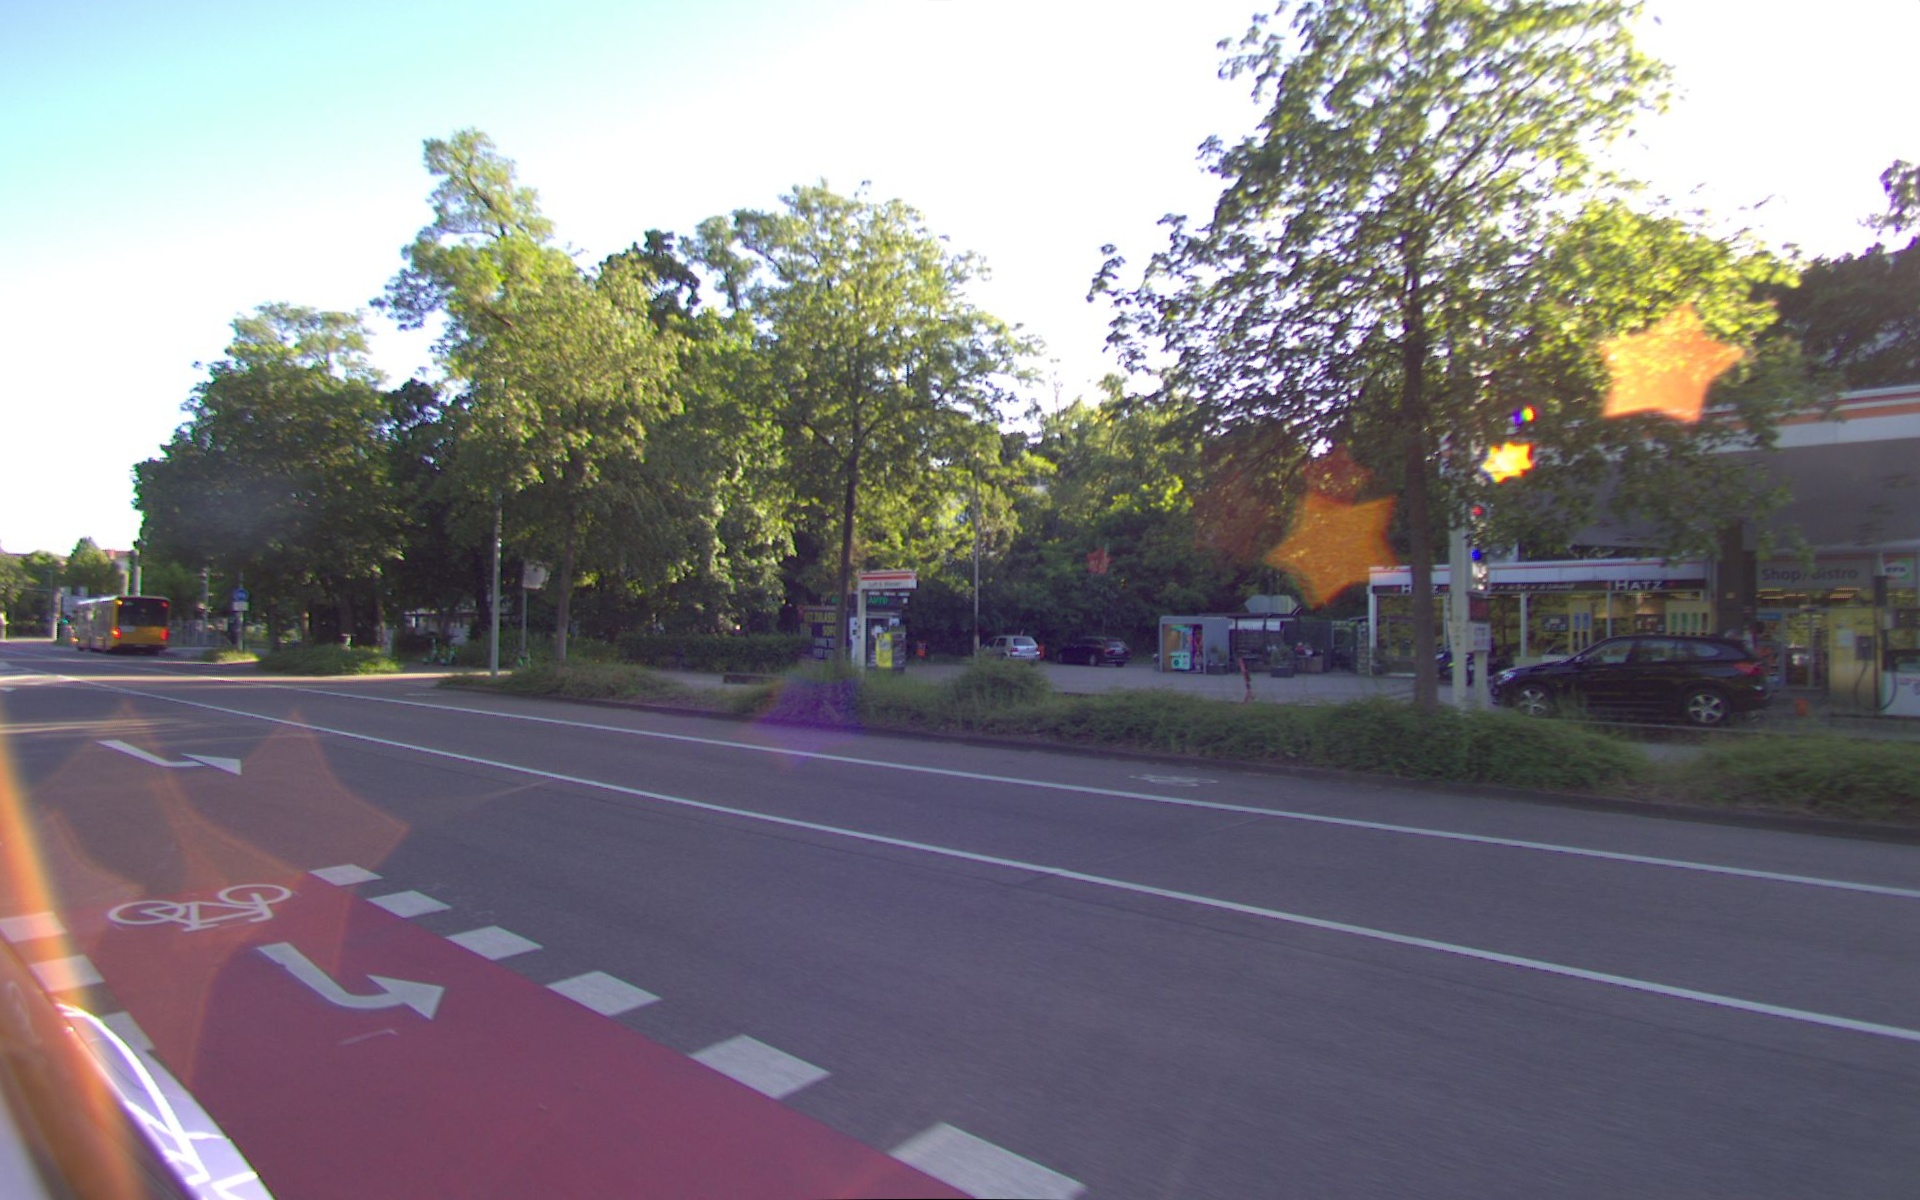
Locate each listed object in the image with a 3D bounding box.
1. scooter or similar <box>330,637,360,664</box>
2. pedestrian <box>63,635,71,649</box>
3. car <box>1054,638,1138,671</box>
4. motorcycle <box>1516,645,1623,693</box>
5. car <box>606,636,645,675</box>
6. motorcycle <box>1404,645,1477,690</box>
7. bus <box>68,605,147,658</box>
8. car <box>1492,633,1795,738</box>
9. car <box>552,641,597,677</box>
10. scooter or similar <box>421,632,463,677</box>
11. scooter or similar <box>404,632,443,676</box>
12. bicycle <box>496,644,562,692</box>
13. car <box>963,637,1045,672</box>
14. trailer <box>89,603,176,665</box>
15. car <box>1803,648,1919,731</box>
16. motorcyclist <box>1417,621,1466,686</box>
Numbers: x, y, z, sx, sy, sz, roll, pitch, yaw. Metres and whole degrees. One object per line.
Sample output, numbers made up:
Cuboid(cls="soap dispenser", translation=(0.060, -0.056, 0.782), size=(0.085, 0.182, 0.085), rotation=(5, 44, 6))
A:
Cuboid(cls="scooter or similar", translation=(-31.151, 2.540, 51.247), size=(1.570, 1.320, 0.819), rotation=(-2, -3, 42))
Cuboid(cls="pedestrian", translation=(-105.565, 4.977, 119.643), size=(0.681, 1.694, 0.681), rotation=(3, -4, -40))
Cuboid(cls="car", translation=(6.654, 2.672, 49.868), size=(1.967, 1.548, 3.922), rotation=(2, -3, -36))
Cuboid(cls="motorcycle", translation=(19.291, 2.158, 32.117), size=(1.114, 1.462, 2.755), rotation=(2, -3, -22))
Cuboid(cls="car", translation=(-14.890, 2.441, 45.104), size=(1.536, 1.663, 3.501), rotation=(1, -3, -17))
Cuboid(cls="motorcycle", translation=(16.397, 2.268, 34.631), size=(1.117, 1.462, 2.509), rotation=(1, -2, -5))
Cuboid(cls="bus", translation=(-55.285, 2.046, 65.572), size=(8.599, 3.221, 2.809), rotation=(-2, -4, 43))
Cuboid(cls="car", translation=(12.449, 1.483, 18.684), size=(4.446, 1.704, 1.695), rotation=(-1, -3, 37))
Cuboid(cls="car", translation=(-16.646, 2.520, 43.765), size=(1.536, 1.411, 3.501), rotation=(3, -3, -17))
Cuboid(cls="scooter or similar", translation=(-20.124, 2.108, 39.297), size=(1.740, 1.730, 0.819), rotation=(-2, -3, 42))
Cuboid(cls="scooter or similar", translation=(-21.542, 2.138, 40.627), size=(1.740, 1.730, 0.819), rotation=(-2, -3, 42))
Cuboid(cls="bicycle", translation=(-11.840, 1.849, 27.770), size=(2.155, 1.259, 0.648), rotation=(-1, -3, 36))
Cuboid(cls="car", translation=(2.006, 2.510, 47.257), size=(1.966, 1.548, 4.033), rotation=(2, -3, -30))
Cuboid(cls="trailer", translation=(-48.703, 1.908, 59.452), size=(9.363, 3.381, 2.823), rotation=(-1, -1, 43))
Cuboid(cls="car", translation=(18.599, 1.668, 18.726), size=(4.574, 1.509, 1.693), rotation=(-1, -3, 40))
Cuboid(cls="motorcyclist", translation=(16.417, 1.816, 34.531), size=(1.107, 2.199, 1.017), rotation=(1, -3, -5))
